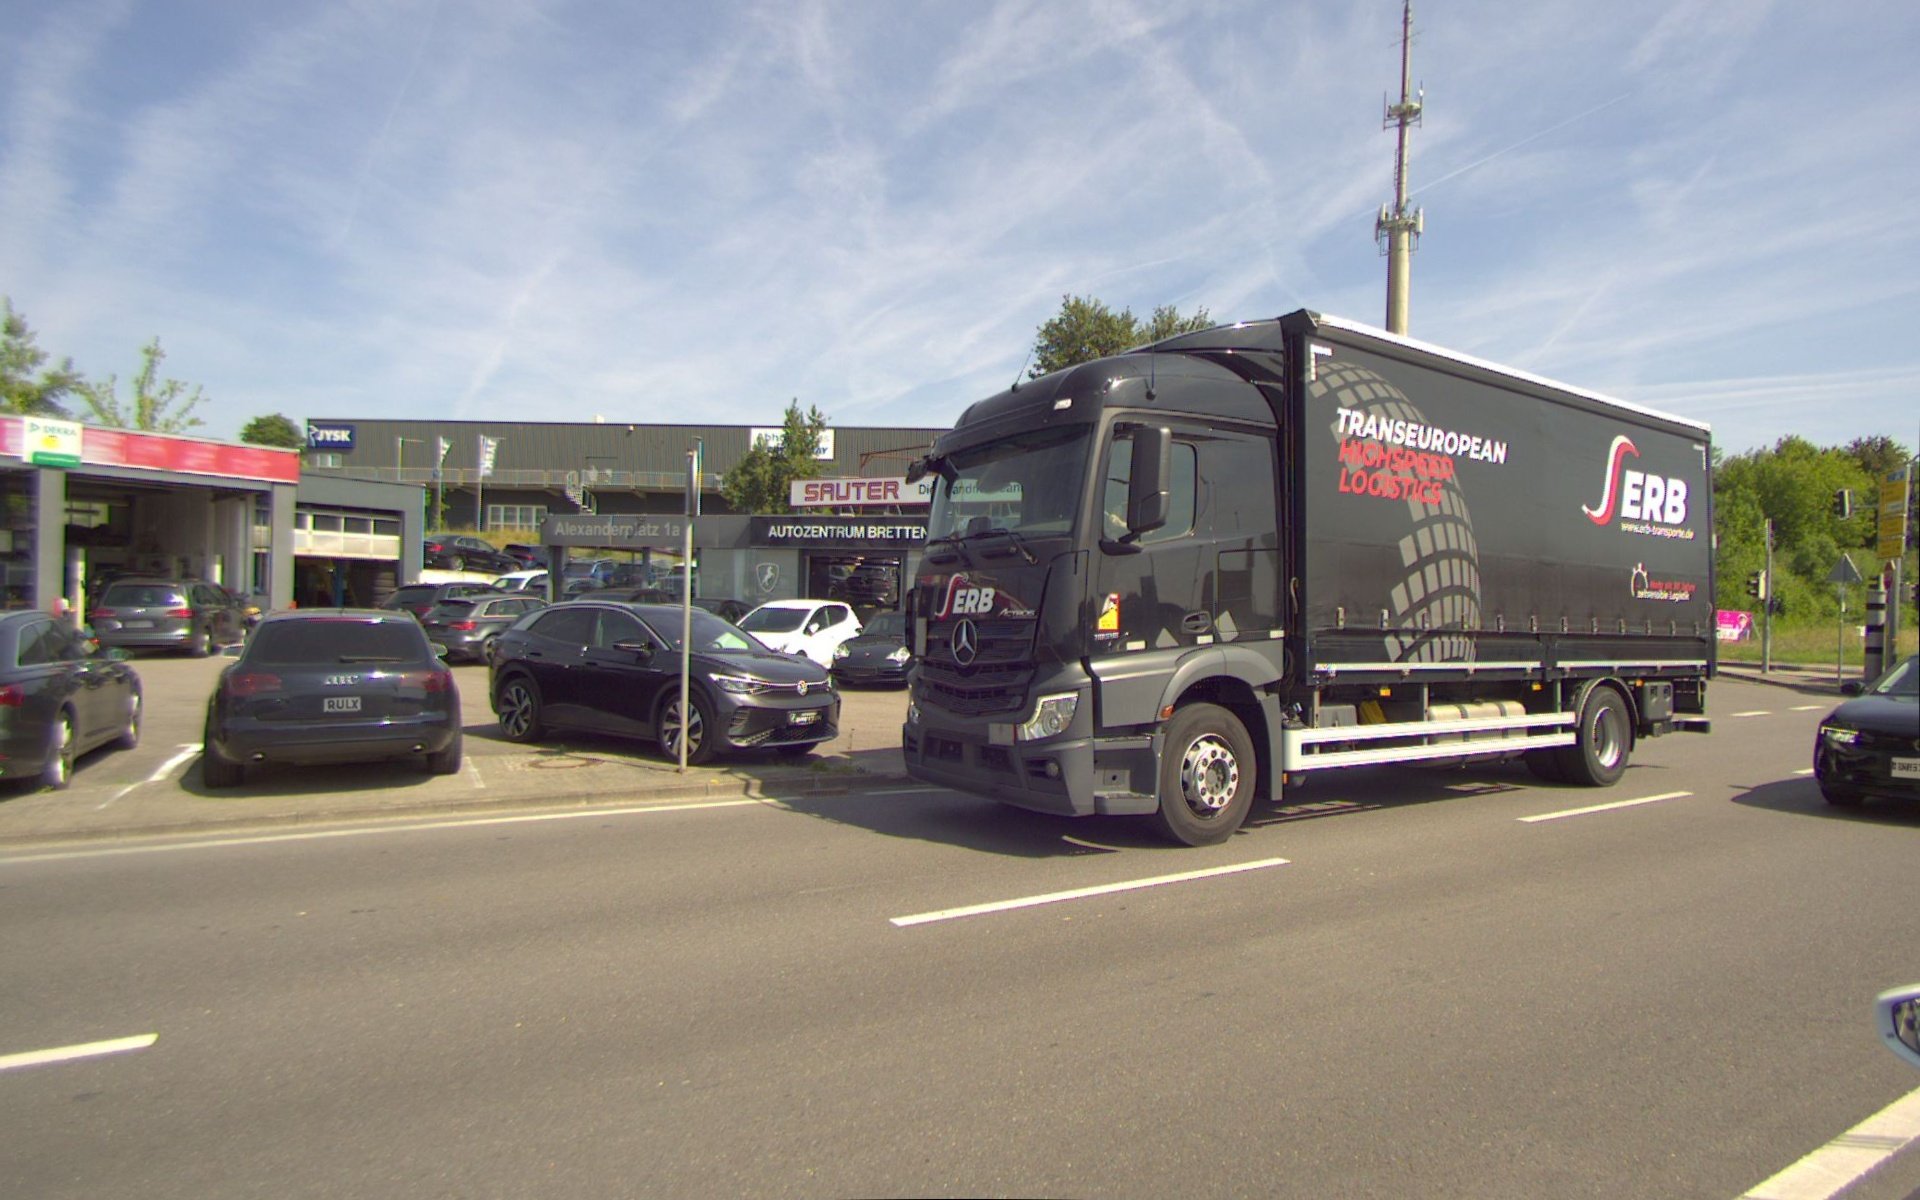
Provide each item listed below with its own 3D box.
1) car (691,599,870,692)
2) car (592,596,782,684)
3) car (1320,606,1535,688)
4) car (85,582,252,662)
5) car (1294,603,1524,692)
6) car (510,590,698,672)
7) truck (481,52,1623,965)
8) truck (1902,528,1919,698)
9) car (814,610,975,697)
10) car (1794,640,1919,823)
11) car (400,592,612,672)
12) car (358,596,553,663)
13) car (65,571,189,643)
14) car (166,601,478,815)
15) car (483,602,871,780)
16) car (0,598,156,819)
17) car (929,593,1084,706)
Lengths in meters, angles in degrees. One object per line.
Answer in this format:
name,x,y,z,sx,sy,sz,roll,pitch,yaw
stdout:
car,-3.384,0.791,19.802,1.791,1.544,4.144,2,1,16
car,-5.486,0.735,20.824,1.779,1.544,4.345,2,1,16
car,11.768,1.138,25.630,4.647,1.647,1.890,4,2,17
car,-17.775,0.491,22.793,1.857,1.629,4.082,1,-1,-22
car,10.391,1.051,23.675,4.702,1.647,1.932,4,1,19
car,-7.569,0.586,21.793,1.774,1.544,4.099,2,1,16
truck,1.666,-0.299,8.305,9.869,4.051,2.695,1,-1,-33
truck,25.958,0.369,24.812,5.995,4.051,2.704,1,-1,-34
car,-1.128,0.942,19.567,1.728,1.346,4.345,2,1,16
car,9.515,1.096,9.154,4.331,1.462,1.702,2,-3,-33
car,-10.004,0.630,22.554,1.855,1.544,4.344,2,1,19
car,-11.892,0.676,23.989,1.741,1.429,4.104,1,-1,19
car,-22.685,0.198,27.299,4.038,1.831,1.744,0,-1,38
car,-5.848,0.815,9.515,2.007,1.550,4.015,1,-1,-30
car,-3.257,0.875,11.389,4.112,1.644,2.025,0,-1,33
car,-8.513,0.759,8.519,2.006,1.550,4.345,1,-1,-31
car,1.018,0.794,18.758,1.855,1.772,4.470,2,1,16
